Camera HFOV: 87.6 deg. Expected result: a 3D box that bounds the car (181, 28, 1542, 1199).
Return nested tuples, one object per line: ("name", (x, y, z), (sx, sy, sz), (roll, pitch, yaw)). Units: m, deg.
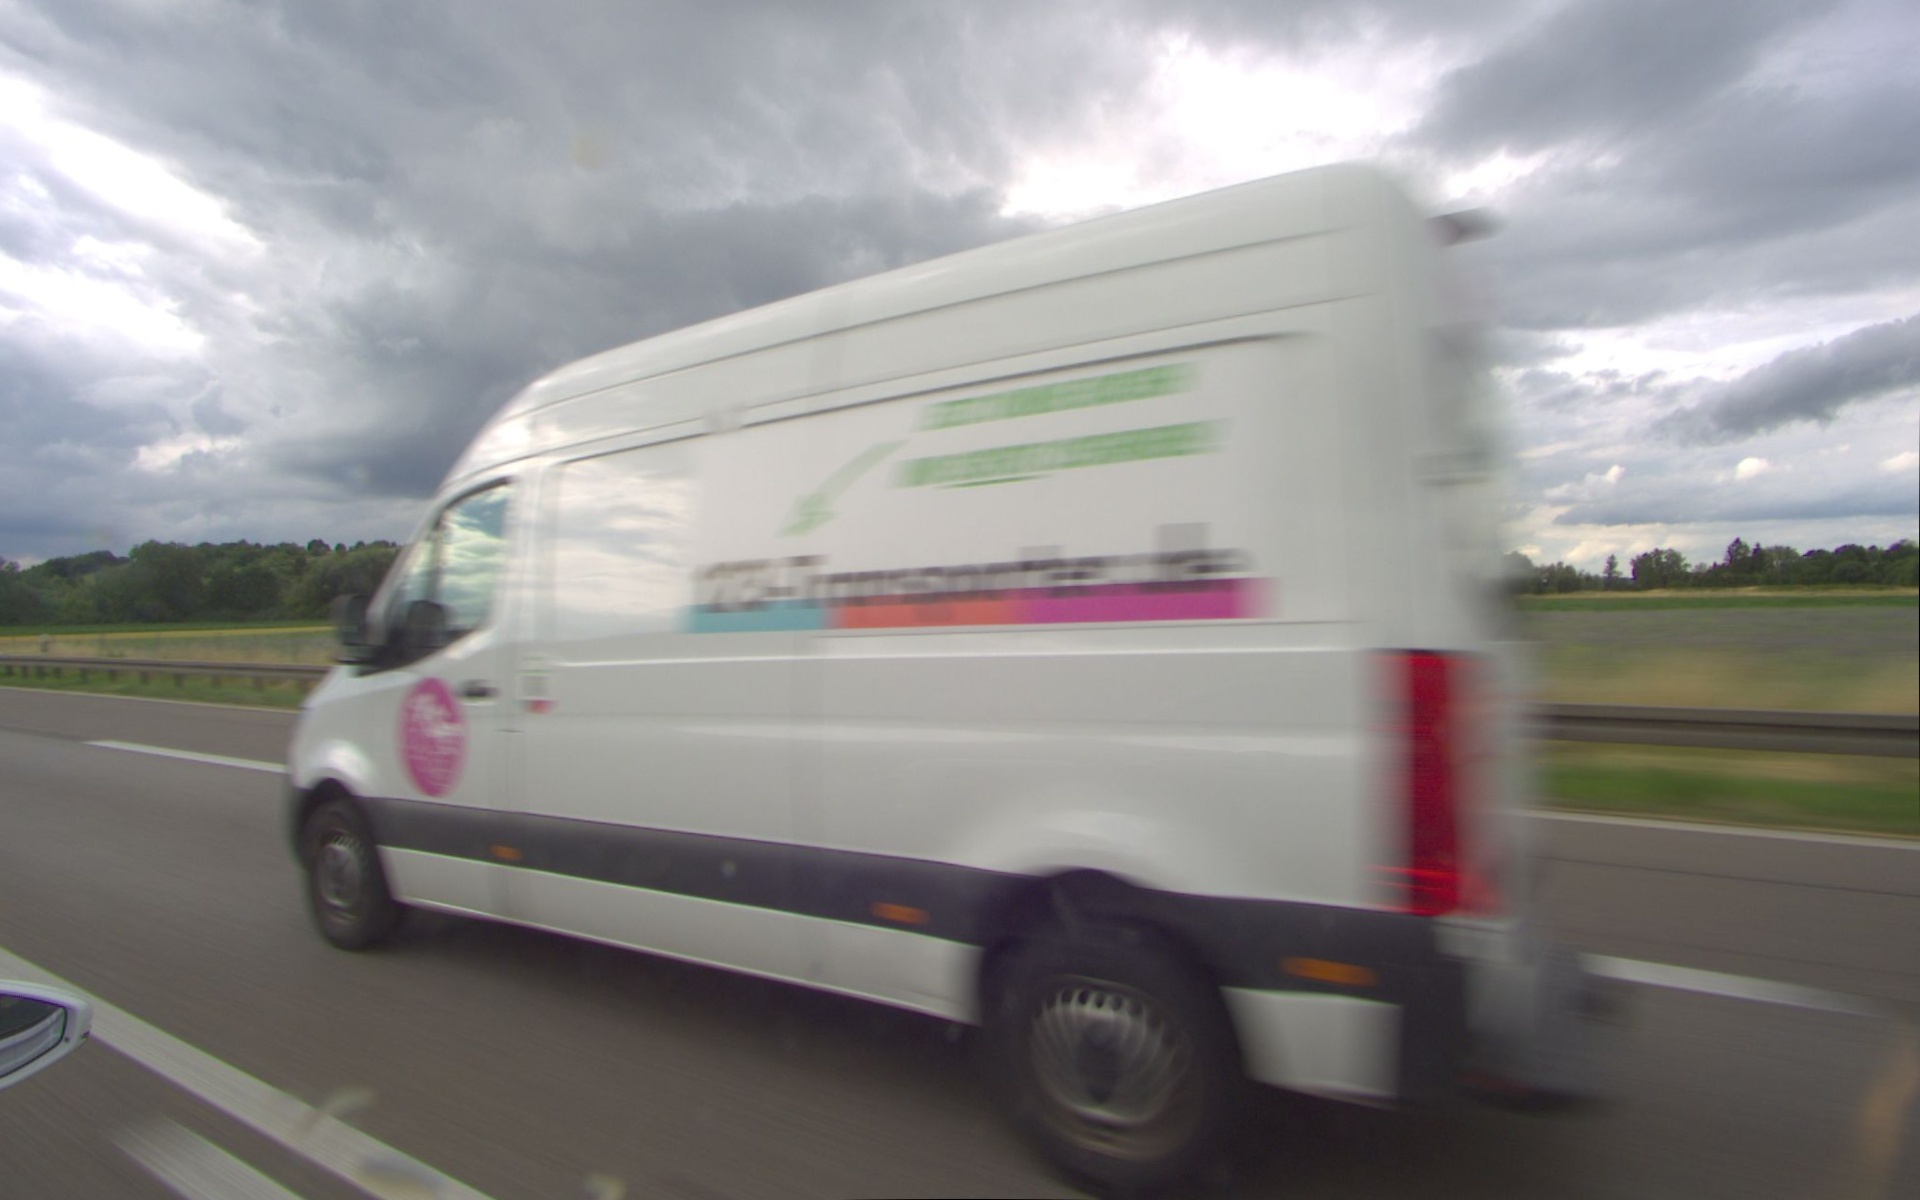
("car", (-0.951, 0.238, 4.569), (6.167, 2.601, 2.216), (-1, -1, 33))
